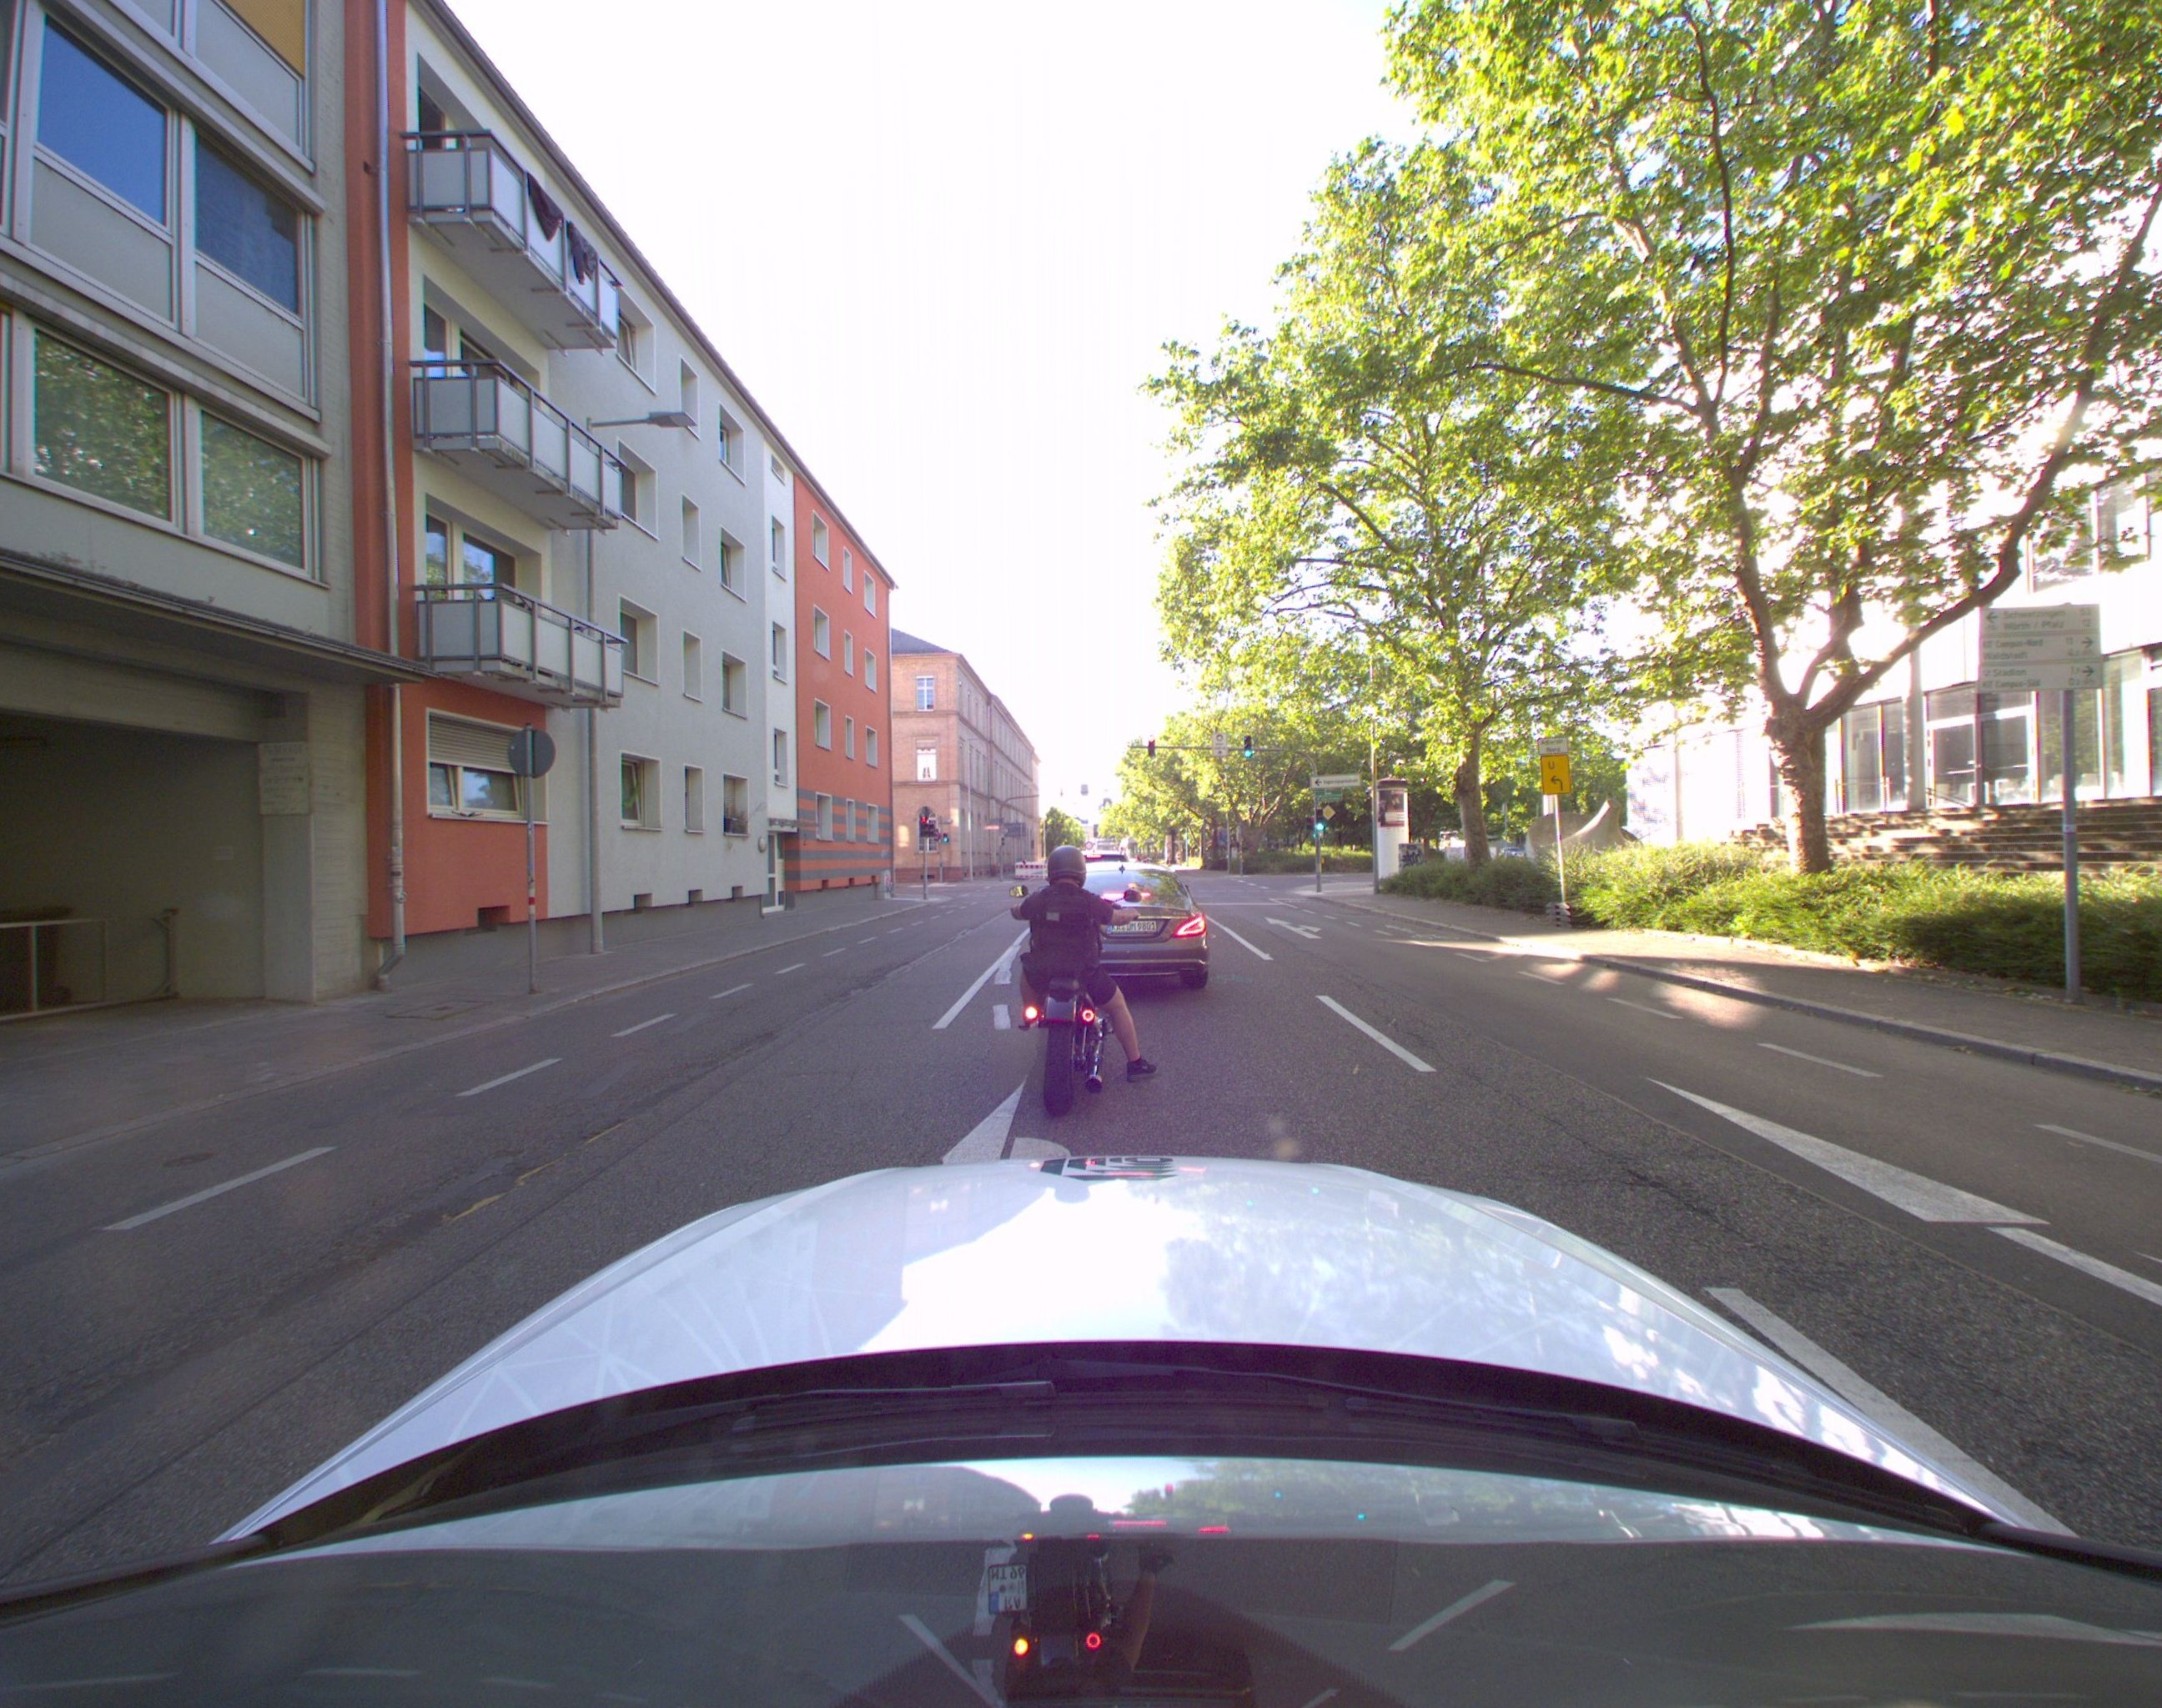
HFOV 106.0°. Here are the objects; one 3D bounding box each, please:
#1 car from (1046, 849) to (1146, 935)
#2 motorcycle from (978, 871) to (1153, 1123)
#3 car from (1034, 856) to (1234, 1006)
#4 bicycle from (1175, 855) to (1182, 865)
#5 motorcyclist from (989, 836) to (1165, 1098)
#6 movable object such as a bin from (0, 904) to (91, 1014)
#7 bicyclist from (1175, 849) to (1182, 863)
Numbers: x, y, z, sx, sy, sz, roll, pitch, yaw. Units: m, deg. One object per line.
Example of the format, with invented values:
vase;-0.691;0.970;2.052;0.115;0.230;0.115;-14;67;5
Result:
car;0.261;0.694;16.899;1.808;1.536;3.847;-1;0;-1
motorcycle;-0.049;0.812;5.664;0.958;1.357;2.321;0;-1;2
car;0.413;0.767;10.272;1.899;1.441;4.281;-1;0;-5
bicycle;11.435;0.707;95.505;0.712;1.172;2.179;0;-1;6
motorcyclist;-0.013;0.687;5.394;1.057;1.582;0.908;0;-1;1
movable object such as a bin;-11.332;1.095;8.652;0.736;1.074;0.716;0;-1;2
bicyclist;11.439;0.251;95.496;0.713;1.582;0.937;0;-1;6
